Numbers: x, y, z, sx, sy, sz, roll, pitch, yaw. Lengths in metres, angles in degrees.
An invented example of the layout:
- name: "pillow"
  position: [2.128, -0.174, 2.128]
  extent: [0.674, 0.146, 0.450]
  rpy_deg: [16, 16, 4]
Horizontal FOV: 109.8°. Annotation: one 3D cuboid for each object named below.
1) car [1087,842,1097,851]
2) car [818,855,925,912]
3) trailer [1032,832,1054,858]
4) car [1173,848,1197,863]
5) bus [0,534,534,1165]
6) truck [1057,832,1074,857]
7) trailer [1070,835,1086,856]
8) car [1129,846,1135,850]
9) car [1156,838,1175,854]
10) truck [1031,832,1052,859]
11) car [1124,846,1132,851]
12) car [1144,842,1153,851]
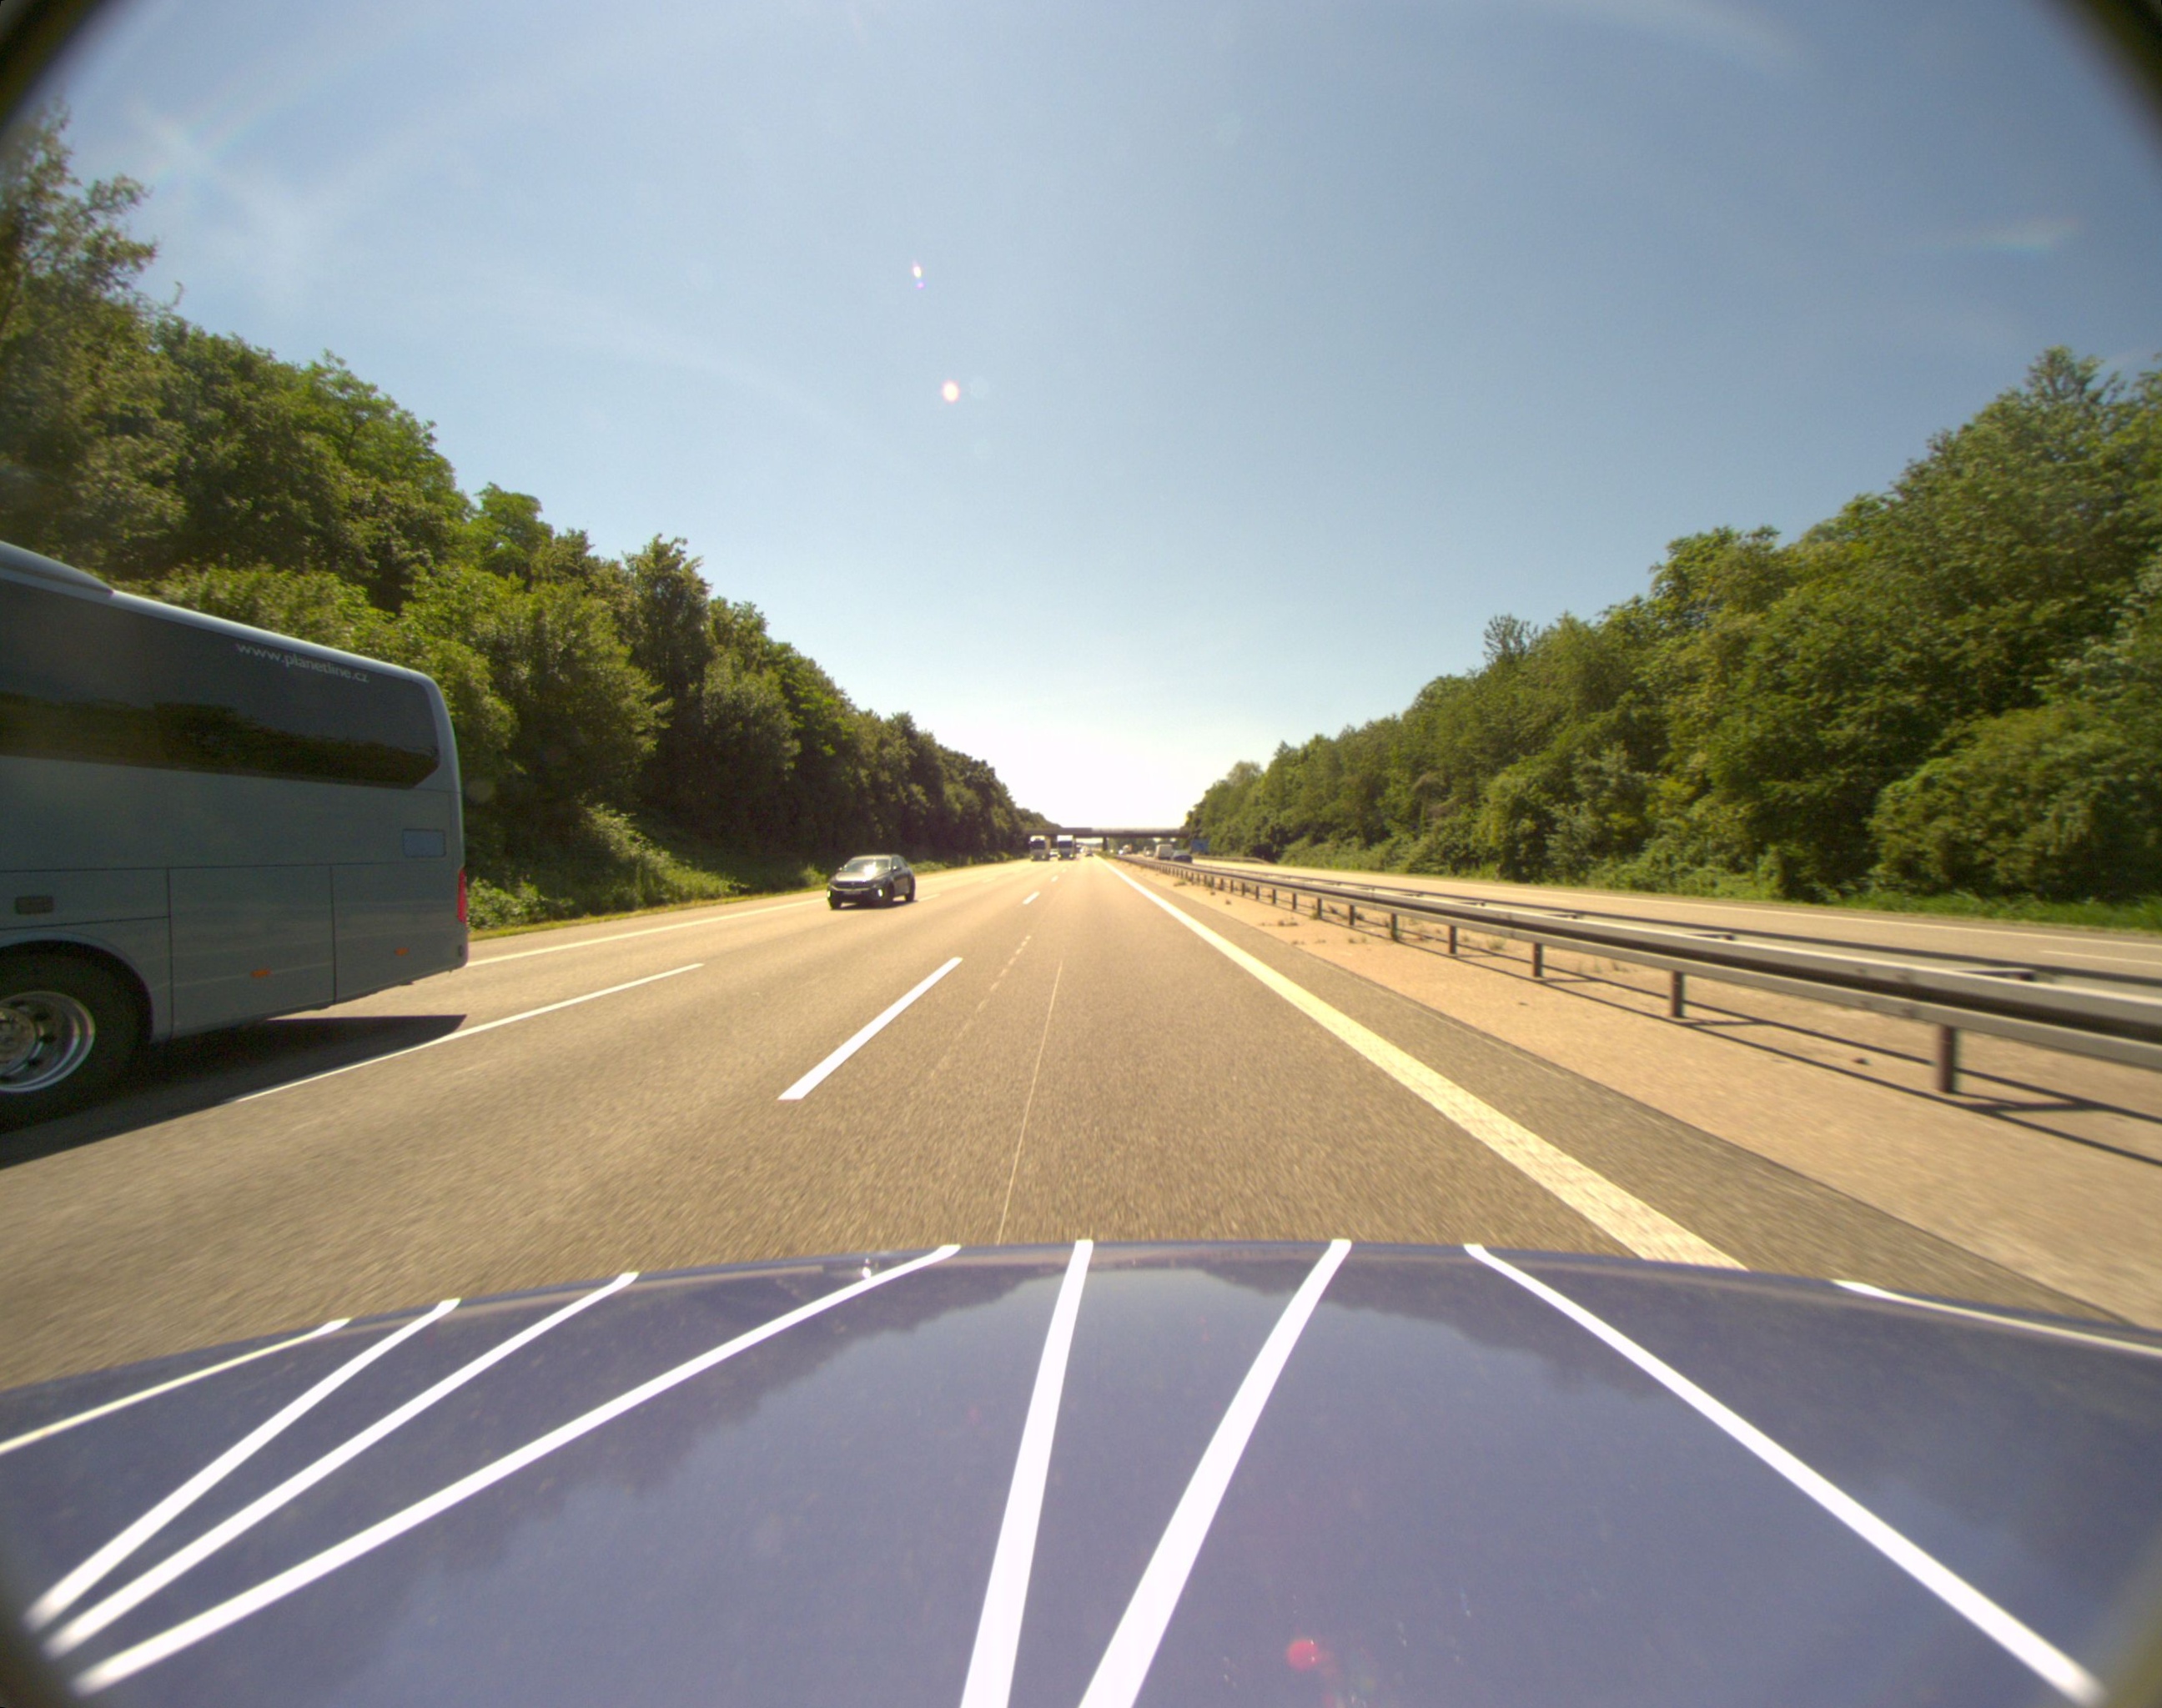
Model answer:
- name: "car"
  position: [2.552, -1.667, 171.393]
  extent: [2.073, 1.959, 5.109]
  rpy_deg: [0, 1, -1]
- name: "car"
  position: [-6.427, 0.837, 23.908]
  extent: [1.904, 1.523, 4.760]
  rpy_deg: [-2, 1, 2]
- name: "trailer"
  position: [-6.366, -1.481, 129.954]
  extent: [3.047, 4.200, 13.833]
  rpy_deg: [-2, 1, 0]
- name: "car"
  position: [10.437, 0.105, 76.363]
  extent: [1.810, 1.472, 4.566]
  rpy_deg: [0, 1, 0]
- name: "bus"
  position: [-7.523, 0.024, 2.185]
  extent: [2.809, 3.576, 12.471]
  rpy_deg: [-1, 1, 0]
- name: "truck"
  position: [-2.491, -1.567, 125.276]
  extent: [2.684, 4.046, 6.047]
  rpy_deg: [-2, 1, 0]
- name: "trailer"
  position: [-0.657, -1.794, 155.100]
  extent: [2.886, 4.046, 13.832]
  rpy_deg: [-2, 1, -1]
- name: "car"
  position: [17.146, -2.013, 255.274]
  extent: [1.672, 1.394, 4.705]
  rpy_deg: [0, 1, 0]
- name: "car"
  position: [12.031, -1.101, 108.622]
  extent: [2.092, 2.275, 5.276]
  rpy_deg: [0, 1, 0]
- name: "truck"
  position: [-6.314, -1.339, 122.687]
  extent: [3.055, 4.191, 6.047]
  rpy_deg: [-2, 1, 0]
- name: "car"
  position: [12.346, -1.438, 199.231]
  extent: [1.825, 1.515, 4.822]
  rpy_deg: [0, 1, 0]
- name: "car"
  position: [19.676, -2.093, 222.785]
  extent: [2.092, 2.538, 6.226]
  rpy_deg: [0, 1, 1]
